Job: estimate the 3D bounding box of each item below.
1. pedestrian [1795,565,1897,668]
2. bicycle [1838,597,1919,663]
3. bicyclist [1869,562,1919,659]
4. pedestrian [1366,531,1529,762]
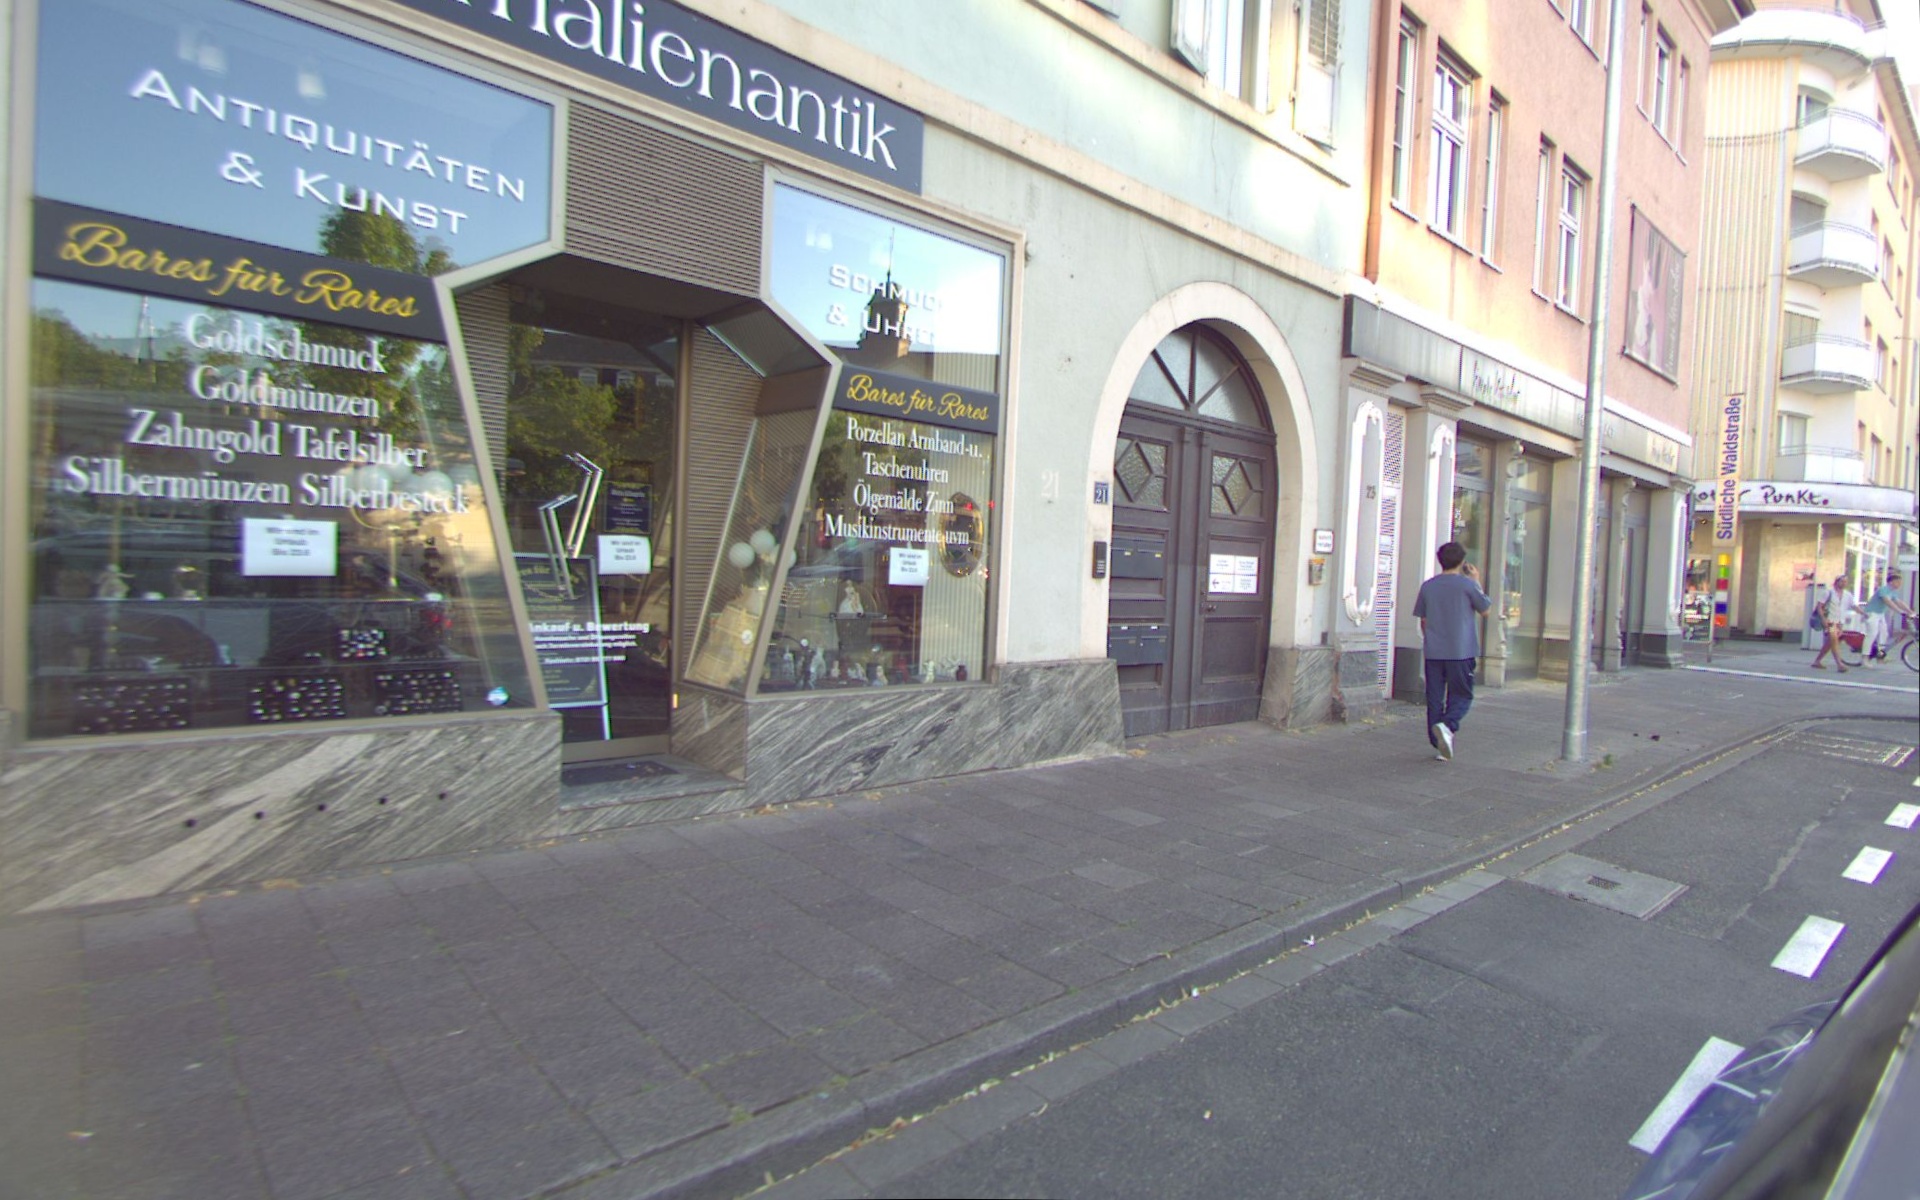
[{"bbox_3d":[16.288,0.281,18.636,0.810,1.796,1.101,2,2,1],"label":"pedestrian"},{"bbox_3d":[18.456,0.593,19.738,0.778,1.200,1.828,1,2,-32],"label":"bicycle"},{"bbox_3d":[18.484,0.194,19.768,0.815,1.848,0.837,1,2,-34],"label":"bicyclist"},{"bbox_3d":[3.785,0.316,7.869,0.857,1.662,0.824,1,2,-43],"label":"pedestrian"}]
